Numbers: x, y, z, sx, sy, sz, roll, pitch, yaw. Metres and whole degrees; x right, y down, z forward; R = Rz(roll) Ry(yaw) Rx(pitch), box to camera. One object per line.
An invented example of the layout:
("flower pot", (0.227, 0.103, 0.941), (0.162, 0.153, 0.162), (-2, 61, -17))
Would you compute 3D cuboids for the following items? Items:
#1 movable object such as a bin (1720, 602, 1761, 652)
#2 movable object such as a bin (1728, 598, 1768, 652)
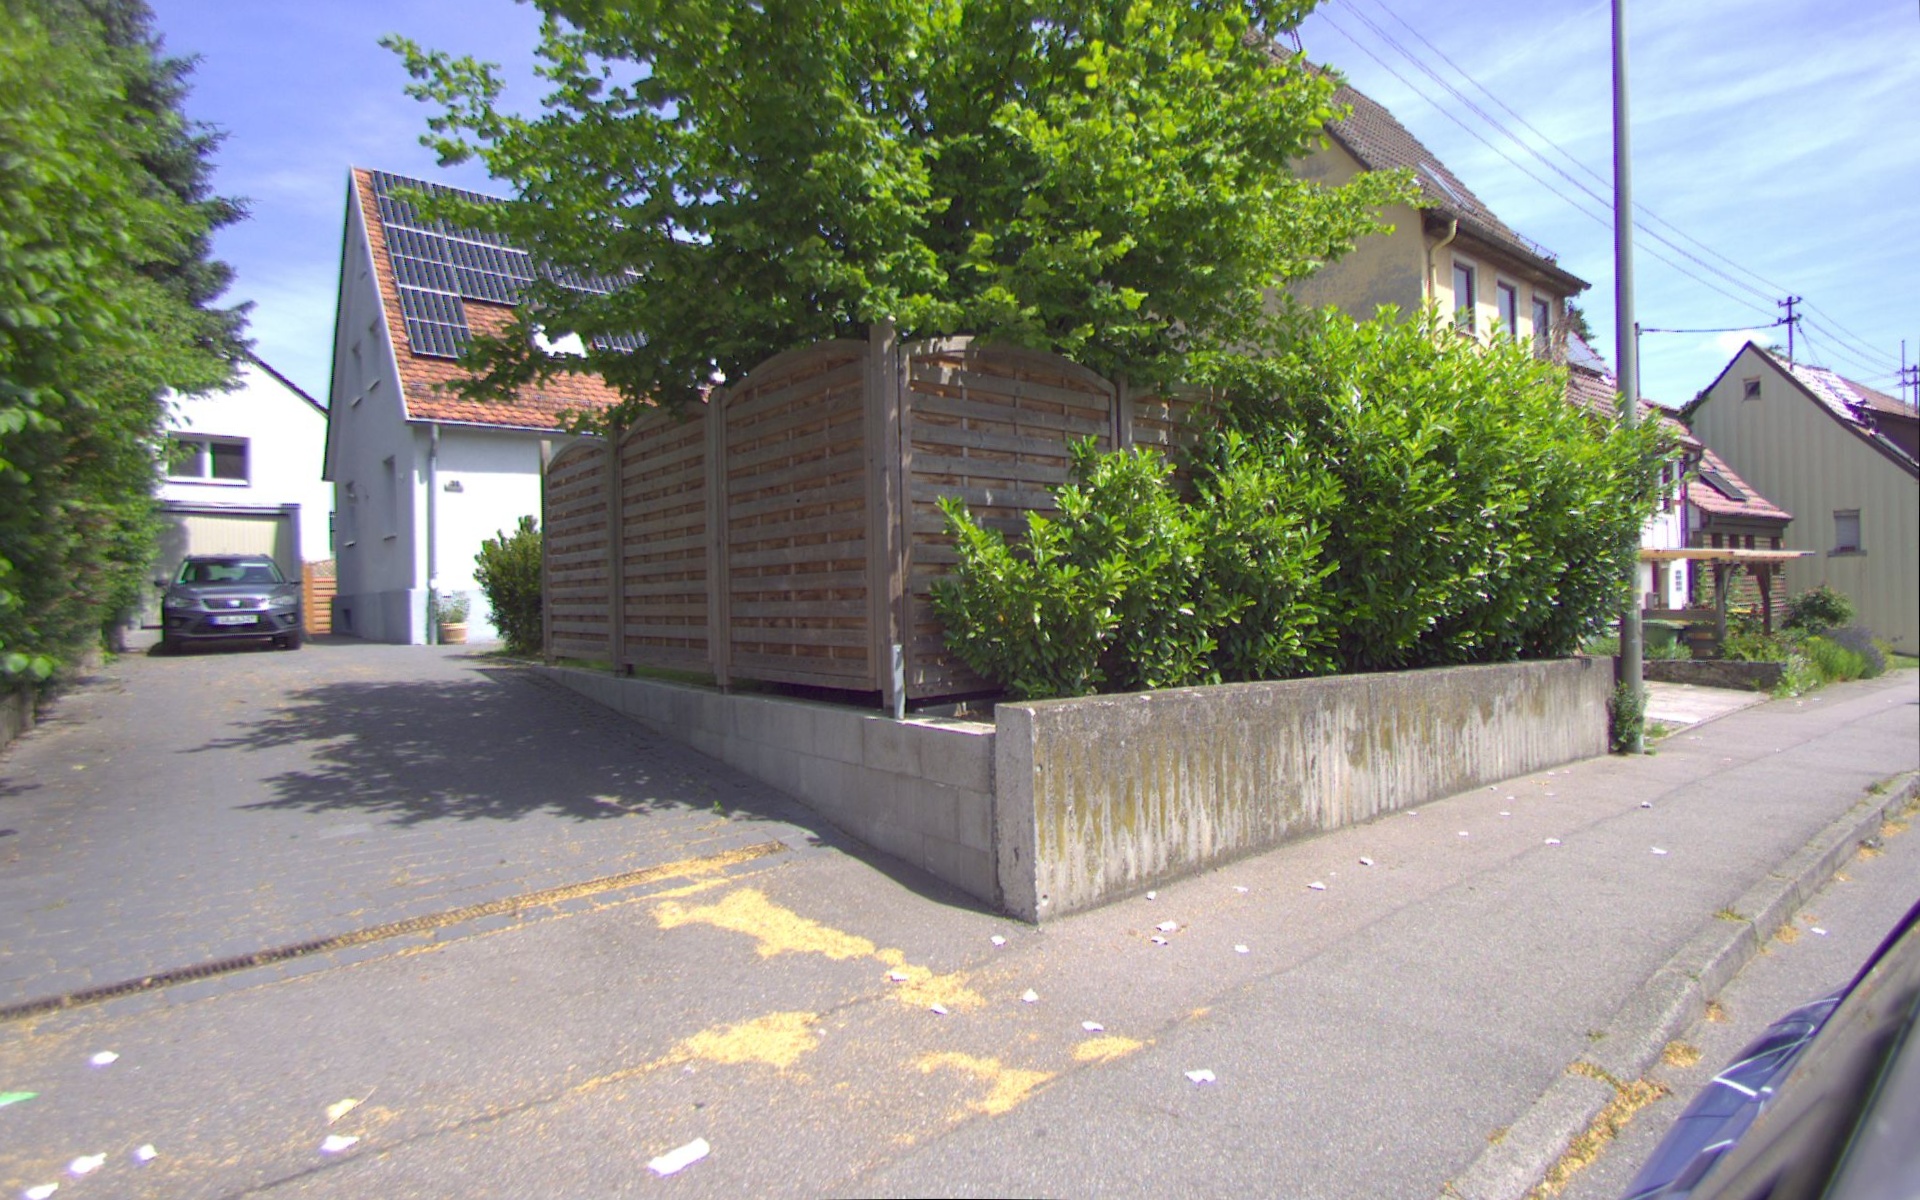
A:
("movable object such as a bin", (17.735, 0.612, 22.992), (0.540, 1.069, 0.536), (0, 6, -42))
("movable object such as a bin", (18.236, 0.568, 23.415), (0.540, 1.171, 0.536), (0, 6, -42))
